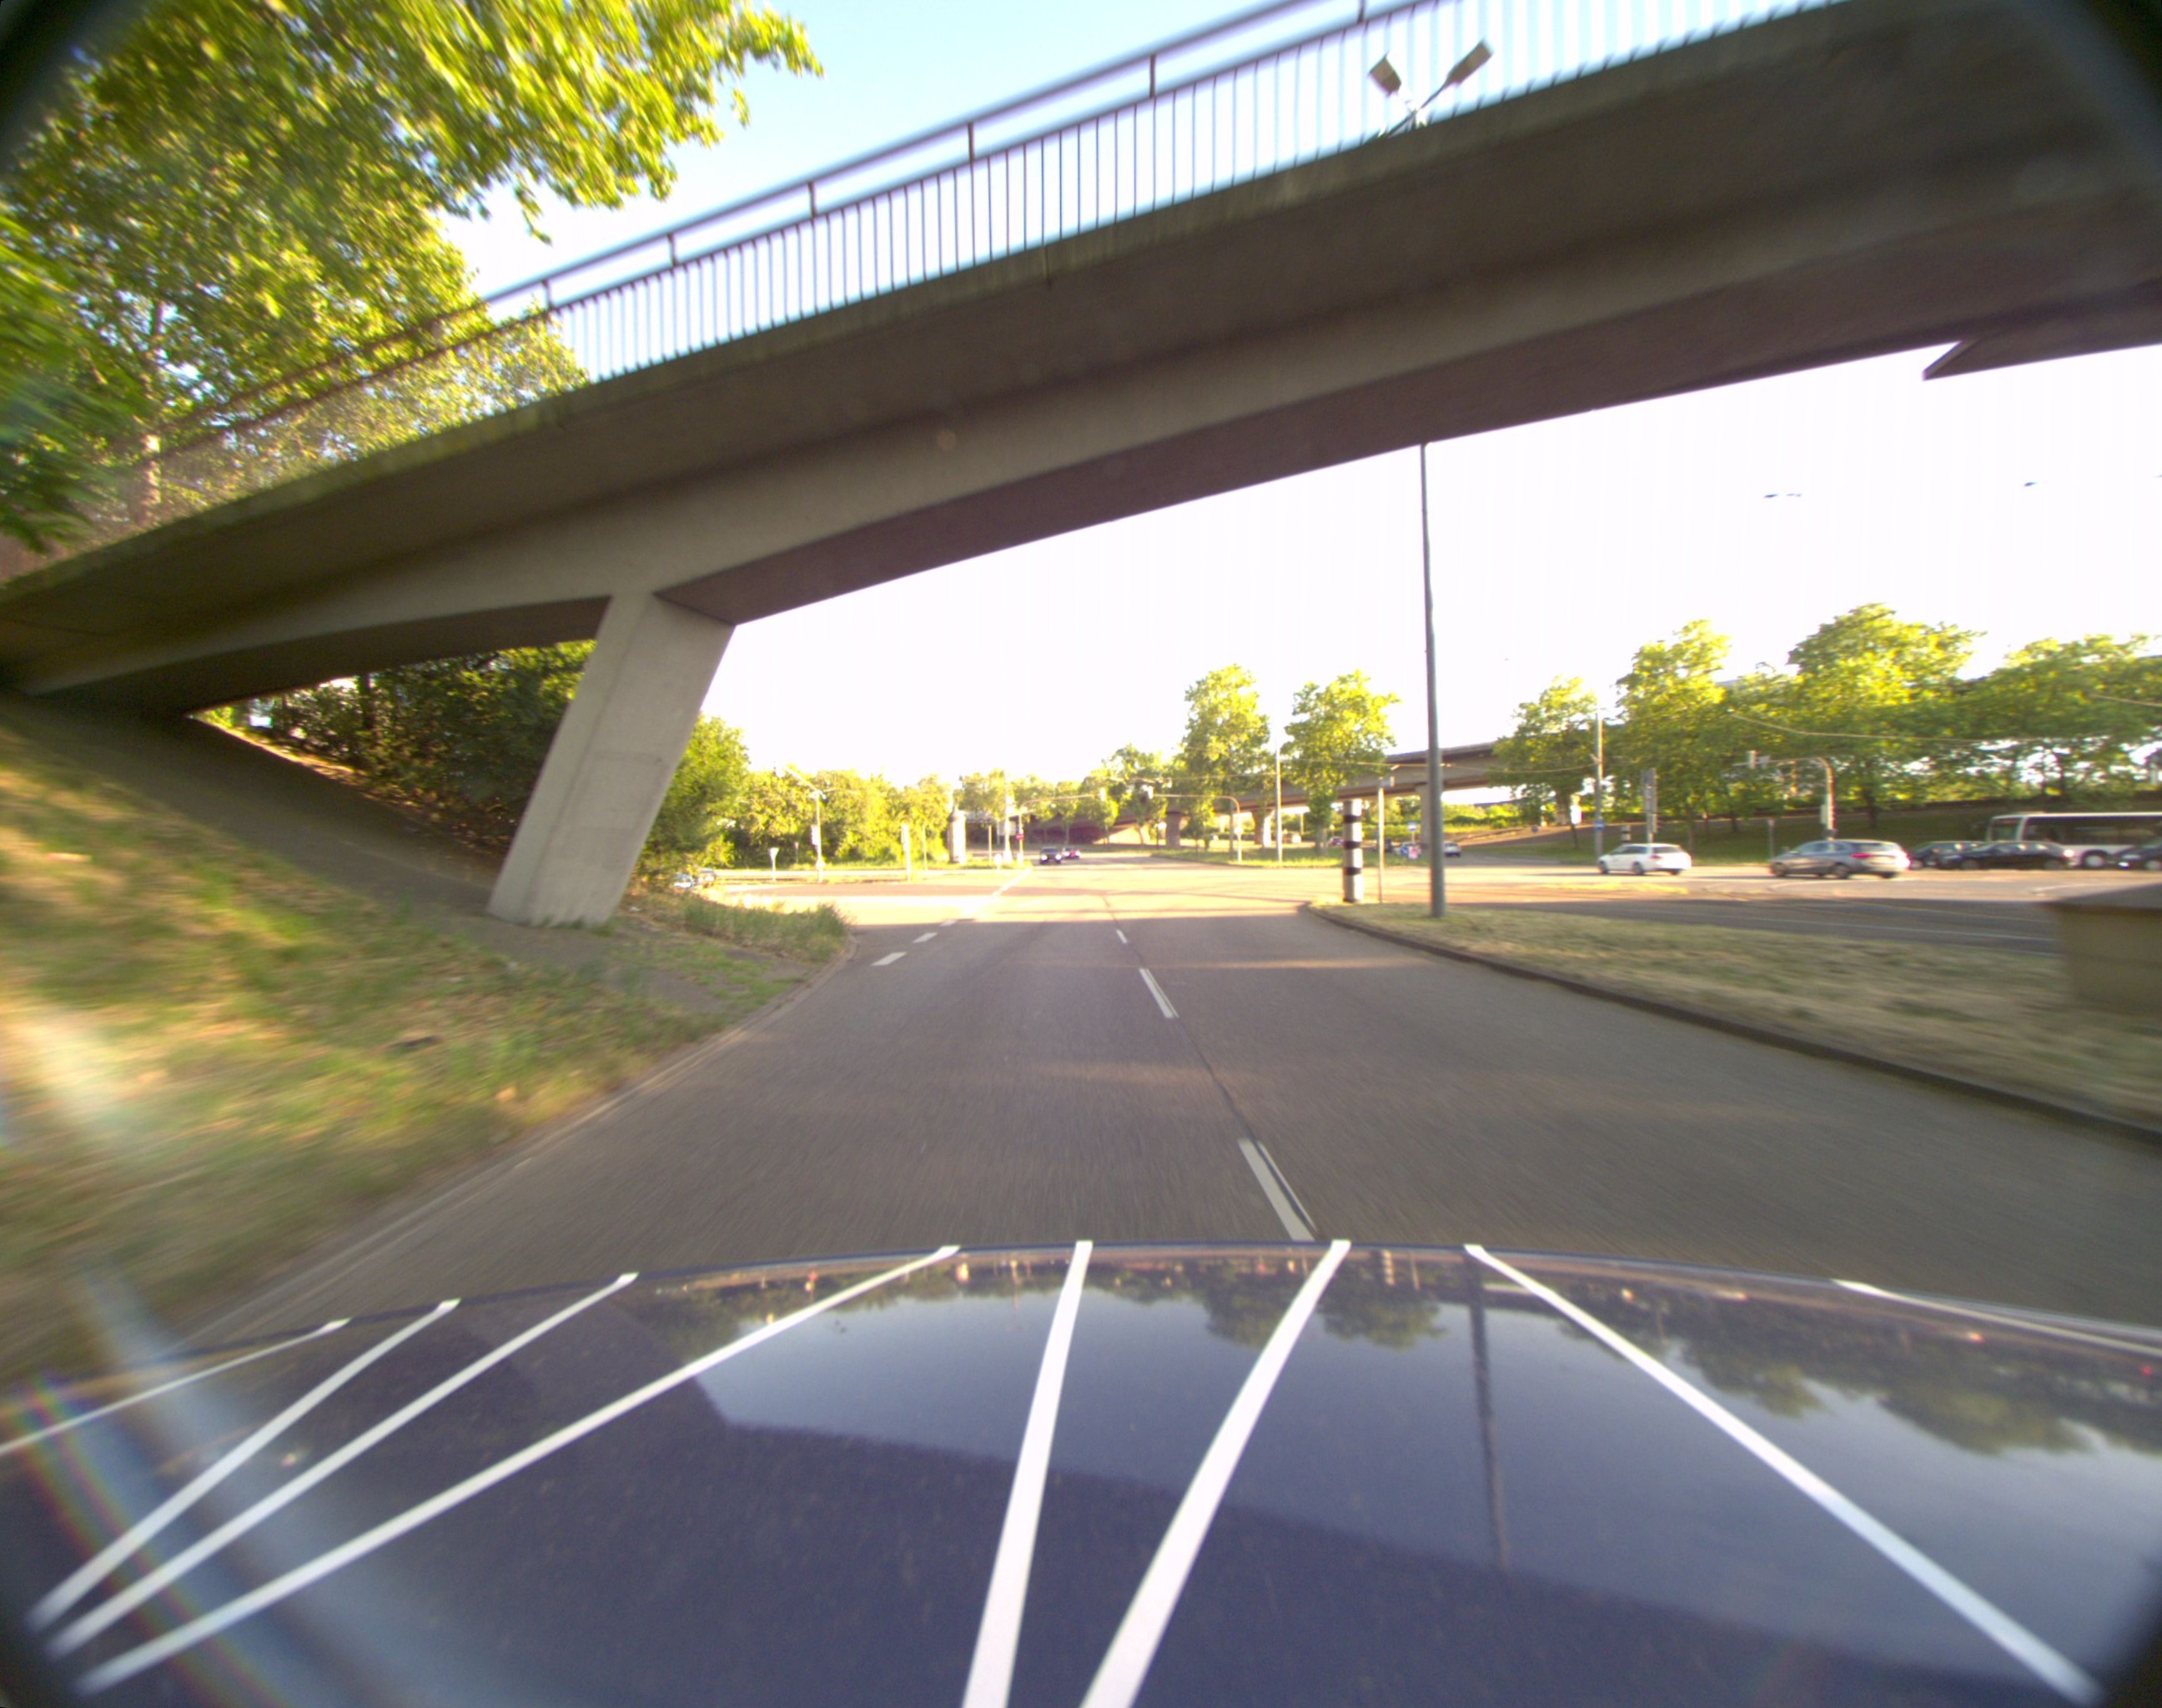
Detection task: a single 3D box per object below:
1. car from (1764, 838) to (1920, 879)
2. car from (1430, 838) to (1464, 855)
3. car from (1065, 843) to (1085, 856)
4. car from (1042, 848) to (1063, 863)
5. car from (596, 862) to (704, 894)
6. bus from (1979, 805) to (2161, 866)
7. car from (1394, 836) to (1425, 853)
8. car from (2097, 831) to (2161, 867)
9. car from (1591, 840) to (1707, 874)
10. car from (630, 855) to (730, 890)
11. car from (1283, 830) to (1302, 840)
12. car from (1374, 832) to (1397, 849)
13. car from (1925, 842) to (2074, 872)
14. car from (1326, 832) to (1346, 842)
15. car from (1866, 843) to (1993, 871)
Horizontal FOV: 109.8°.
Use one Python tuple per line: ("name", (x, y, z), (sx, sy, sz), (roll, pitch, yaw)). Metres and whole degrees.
("car", (29.852, 0.144, 30.025), (2.010, 1.435, 4.253), (-2, 1, 3))
("car", (35.921, -0.768, 74.679), (1.854, 1.600, 4.373), (-1, 1, 9))
("car", (-0.695, -0.566, 90.536), (1.998, 1.477, 4.001), (-2, 0, 4))
("car", (-2.884, 0.162, 75.897), (1.999, 1.477, 3.999), (-2, 0, -3))
("car", (-20.282, 1.122, 35.780), (4.503, 1.409, 1.792), (-1, 1, 18))
("bus", (54.341, -0.931, 37.653), (12.822, 2.937, 2.835), (0, 1, 23))
("car", (32.575, -0.973, 75.448), (1.854, 1.600, 4.310), (-1, 1, 9))
("car", (50.543, -0.254, 35.064), (4.085, 1.643, 1.719), (-1, 1, 21))
("car", (26.417, 0.106, 35.592), (2.010, 1.435, 4.861), (-2, 1, 4))
("car", (-20.775, 0.941, 39.356), (4.591, 1.672, 1.924), (-1, 1, 20))
("car", (39.622, -3.586, 142.346), (1.999, 1.894, 4.702), (-1, 1, -5))
("car", (35.716, -1.579, 89.226), (1.854, 1.856, 4.149), (-1, 1, 12))
("car", (42.547, 0.146, 35.333), (4.085, 1.346, 1.719), (-1, 1, 21))
("car", (40.525, -2.677, 120.858), (1.998, 1.550, 3.935), (-1, 1, 4))
("car", (42.801, 0.172, 38.439), (3.991, 1.346, 1.611), (-1, 1, 19))
